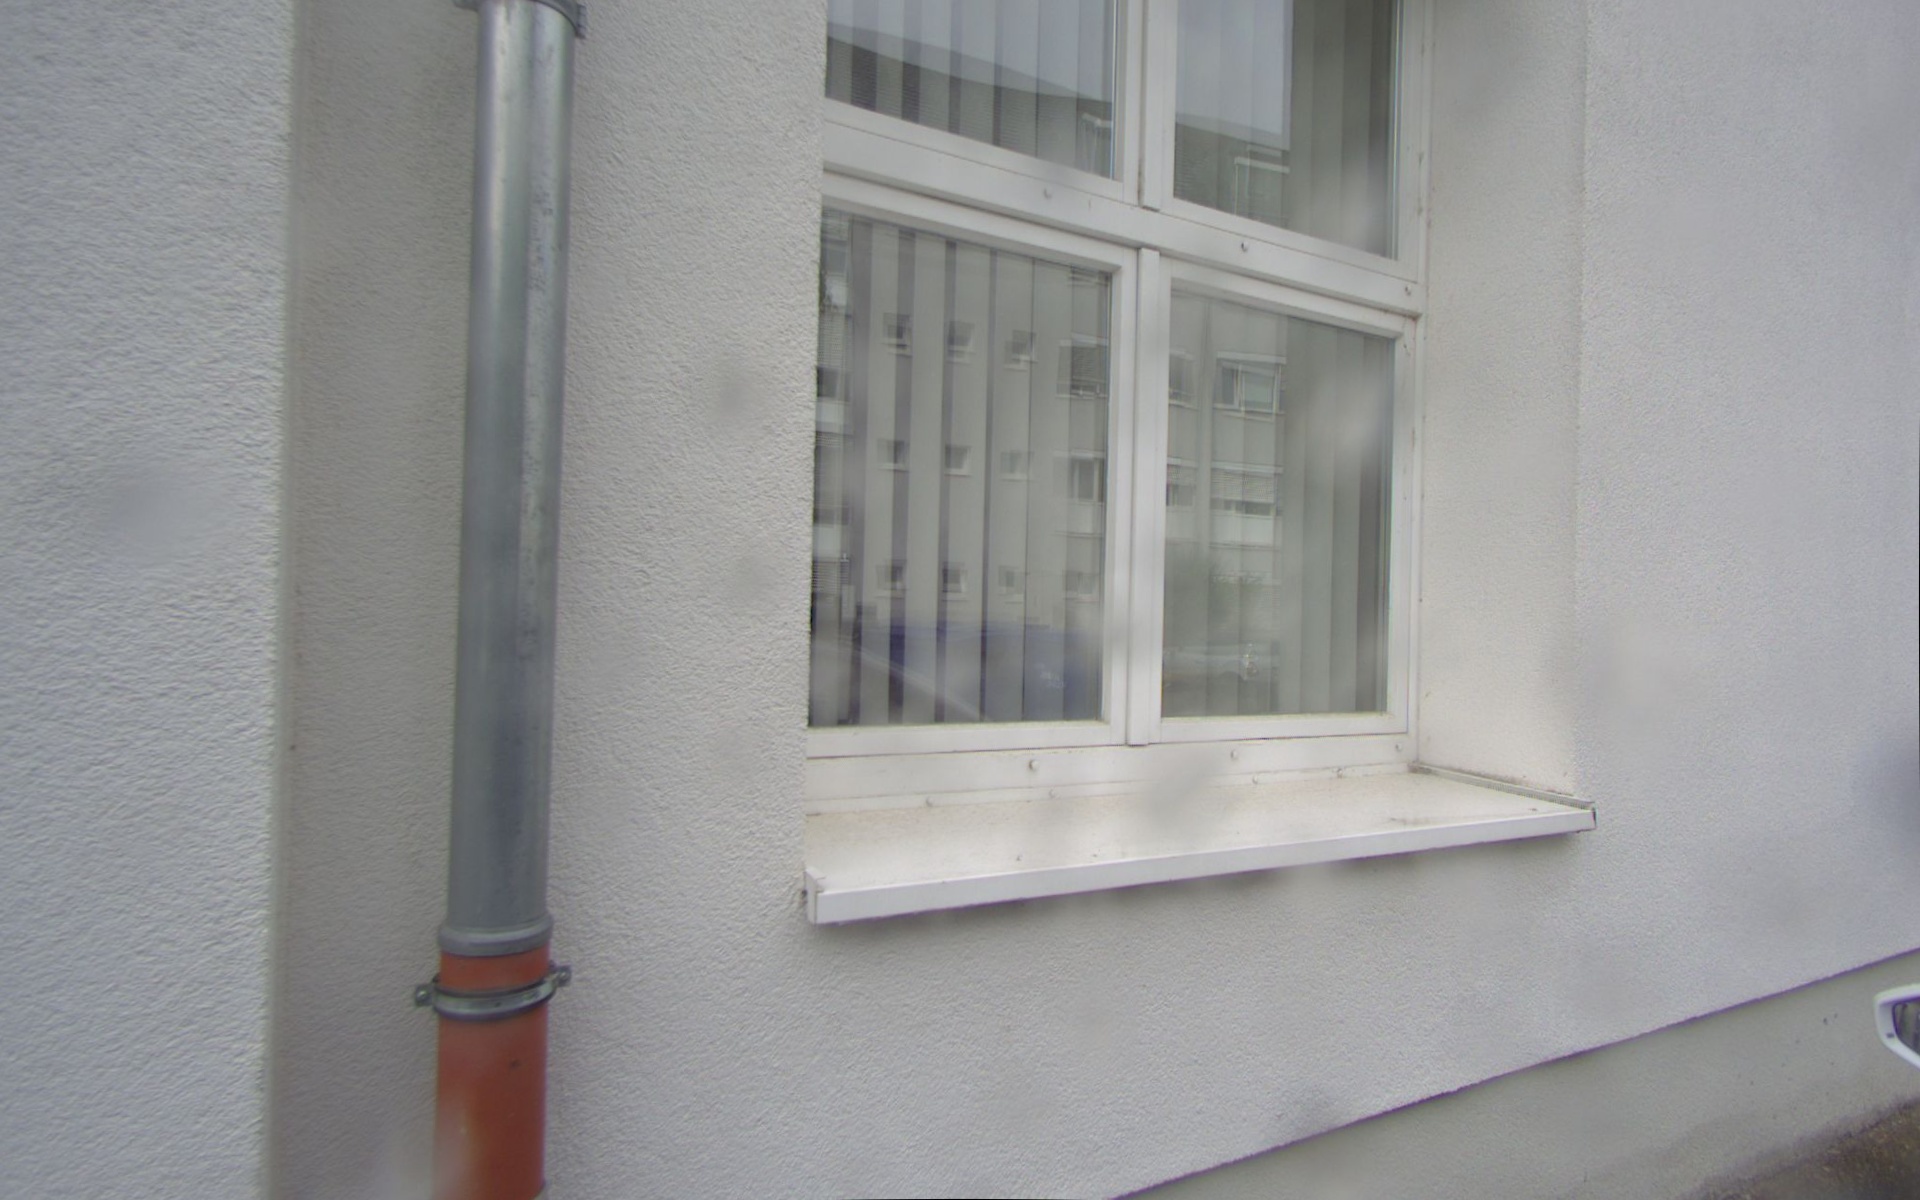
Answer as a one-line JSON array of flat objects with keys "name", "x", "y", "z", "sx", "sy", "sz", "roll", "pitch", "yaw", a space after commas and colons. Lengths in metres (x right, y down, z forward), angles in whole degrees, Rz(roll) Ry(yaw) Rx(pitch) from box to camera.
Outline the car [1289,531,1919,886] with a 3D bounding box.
[{"name": "car", "x": 5.269, "y": 0.616, "z": 8.334, "sx": 2.059, "sy": 2.040, "sz": 4.670, "roll": 2, "pitch": 0, "yaw": -28}]
